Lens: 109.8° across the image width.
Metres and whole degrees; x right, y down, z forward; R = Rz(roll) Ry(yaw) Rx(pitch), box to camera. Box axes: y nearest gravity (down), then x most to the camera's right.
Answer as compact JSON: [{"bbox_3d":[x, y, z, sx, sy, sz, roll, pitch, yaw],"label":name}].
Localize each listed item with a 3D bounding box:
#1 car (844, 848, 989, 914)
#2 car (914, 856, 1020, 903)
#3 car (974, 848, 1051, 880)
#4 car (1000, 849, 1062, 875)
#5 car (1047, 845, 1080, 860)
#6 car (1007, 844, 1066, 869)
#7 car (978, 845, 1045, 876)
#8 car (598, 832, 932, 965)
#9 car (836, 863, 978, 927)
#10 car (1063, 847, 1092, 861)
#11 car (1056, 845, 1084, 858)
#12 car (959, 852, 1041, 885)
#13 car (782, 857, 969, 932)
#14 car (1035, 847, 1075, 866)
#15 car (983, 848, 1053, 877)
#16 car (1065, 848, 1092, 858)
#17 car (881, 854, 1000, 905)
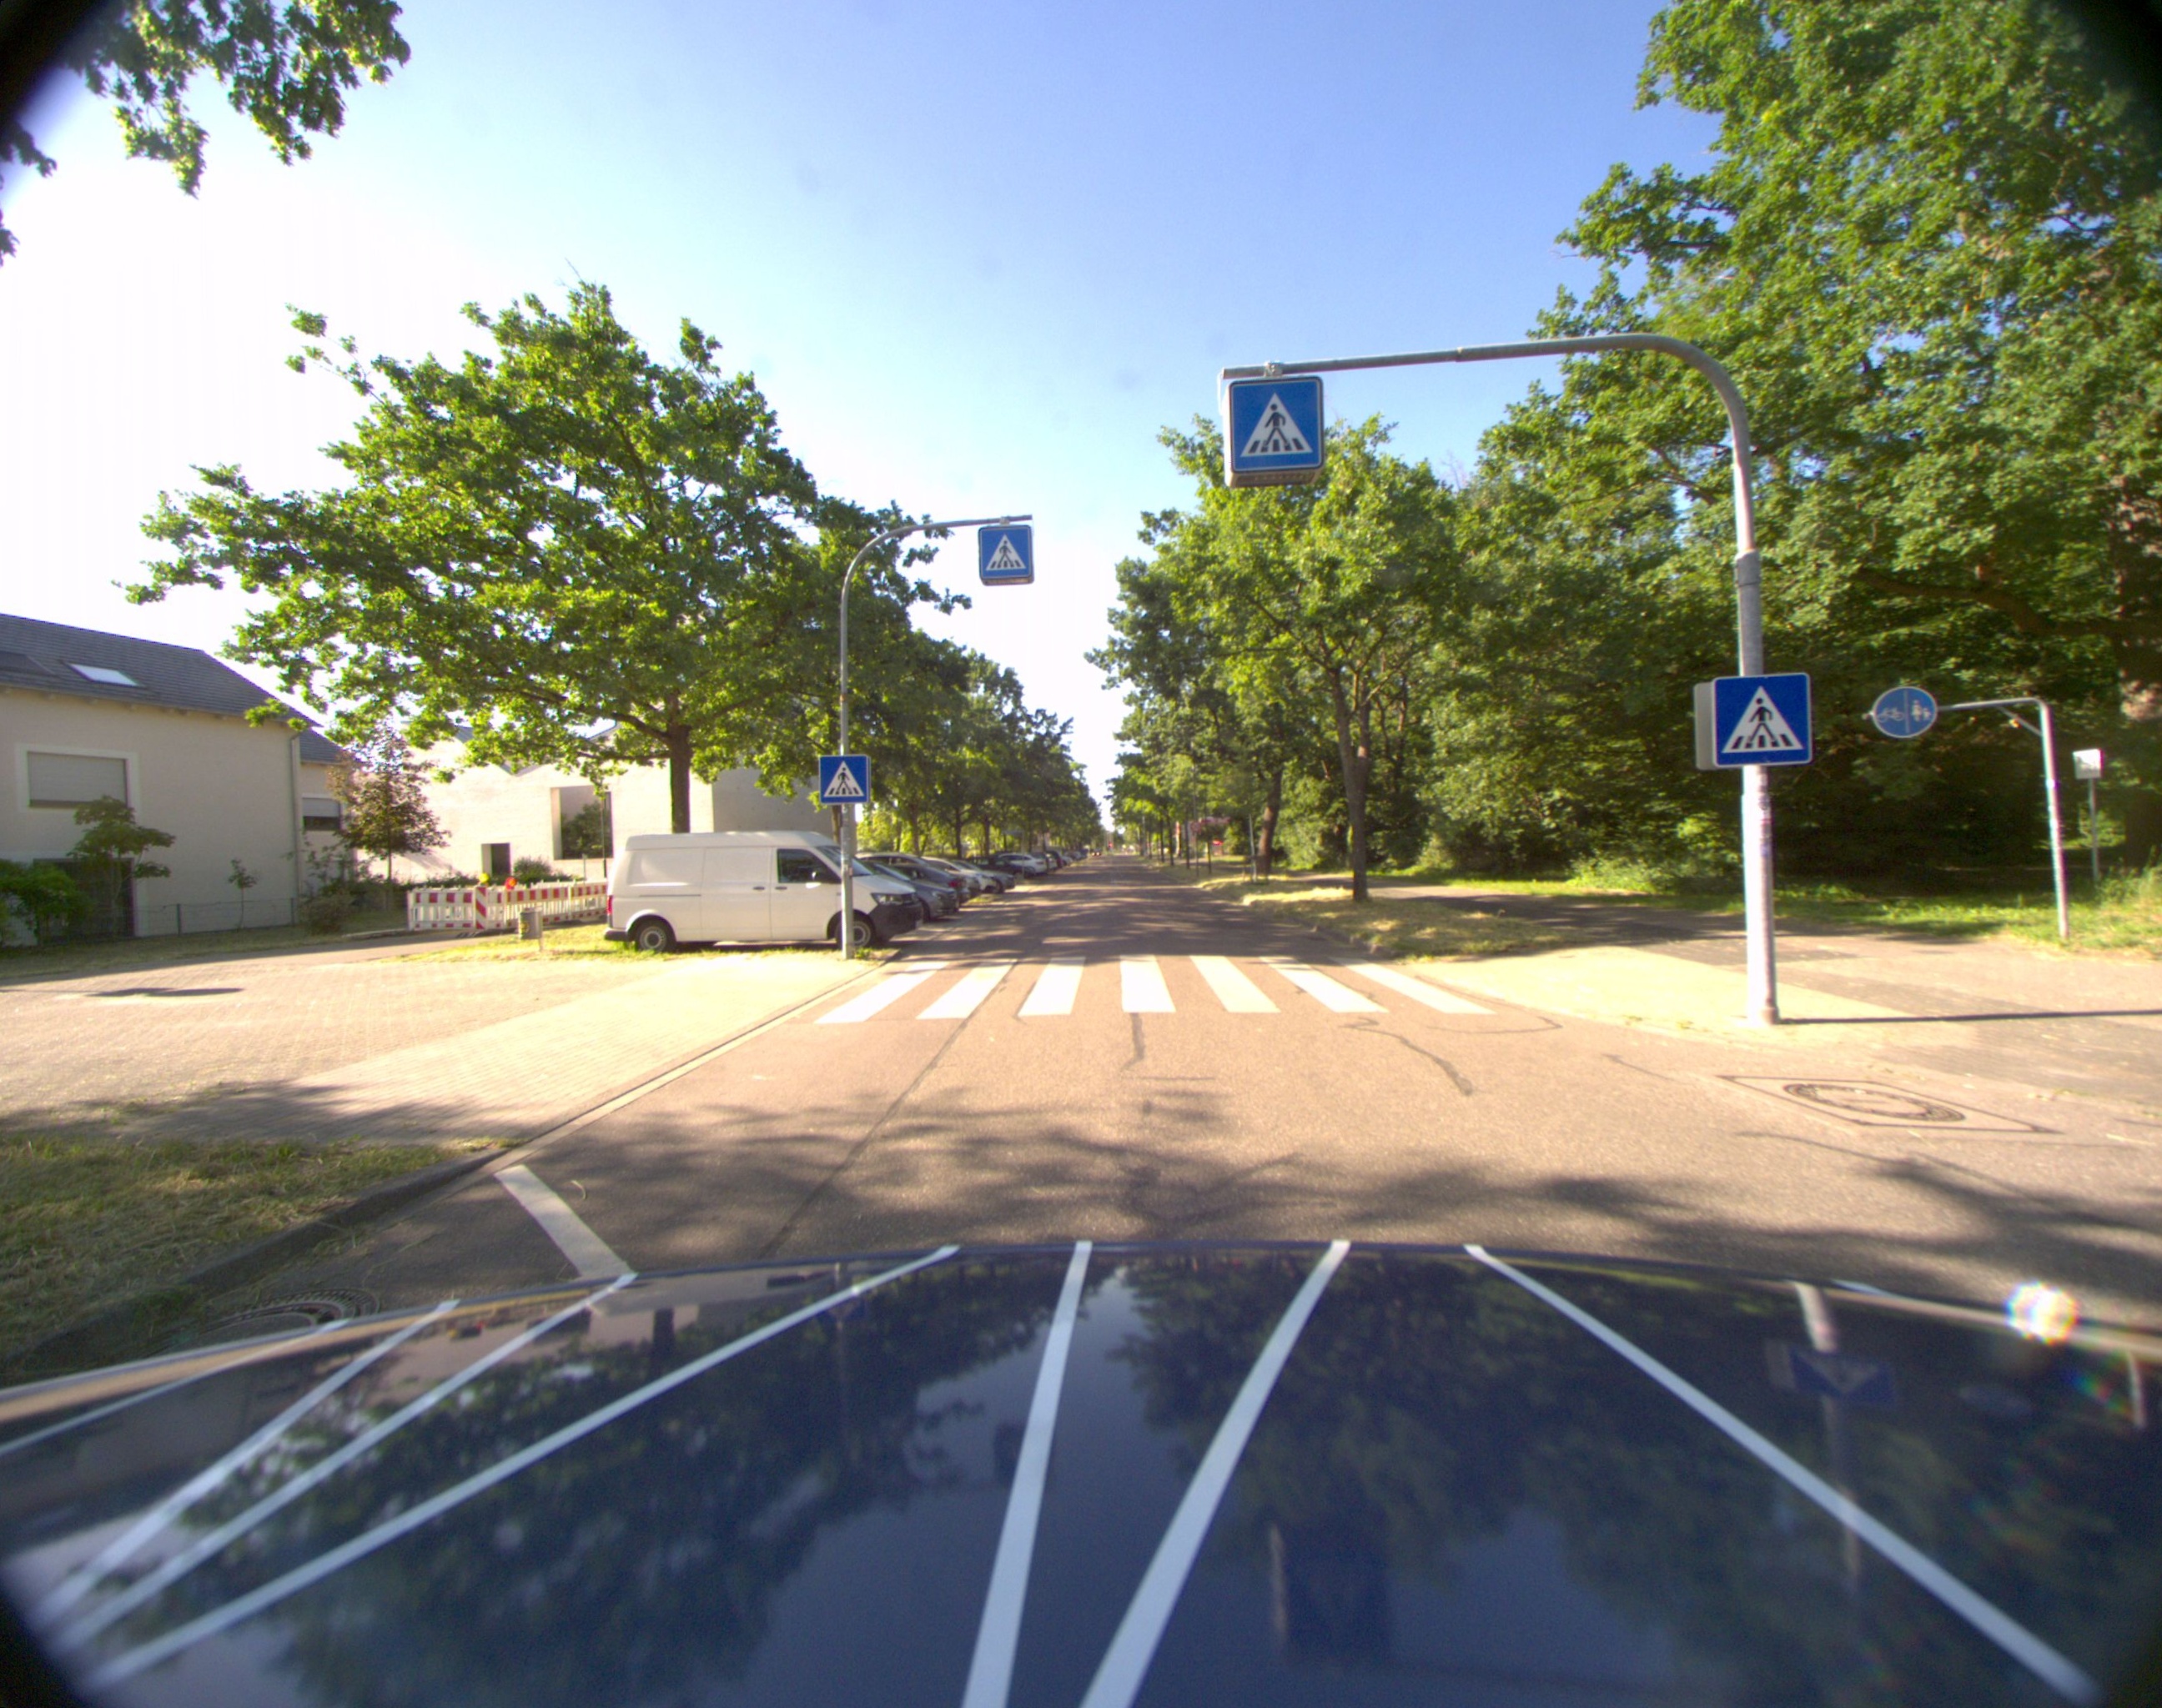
[{"bbox_3d":[-5.051,0.812,23.646,4.018,1.783,1.713,-3,1,4],"label":"car"},{"bbox_3d":[-4.641,1.030,31.231,4.018,1.650,1.533,-3,1,4],"label":"car"},{"bbox_3d":[-4.130,0.598,46.360,4.394,1.733,1.533,-3,1,4],"label":"car"},{"bbox_3d":[-3.758,0.570,57.624,4.394,1.733,1.533,-3,1,4],"label":"car"},{"bbox_3d":[-2.336,-0.211,101.213,4.151,1.838,1.949,-3,1,3],"label":"car"},{"bbox_3d":[-3.467,0.222,59.981,4.394,1.733,1.533,-3,1,4],"label":"car"},{"bbox_3d":[-4.901,0.425,53.812,4.394,1.977,1.533,-3,1,4],"label":"car"},{"bbox_3d":[-5.401,0.728,13.451,5.045,2.069,1.891,-1,1,2],"label":"car"},{"bbox_3d":[-4.774,1.126,21.088,3.515,1.533,1.448,-3,1,4],"label":"car"},{"bbox_3d":[-0.472,-0.027,112.443,4.151,1.838,1.949,-3,1,3],"label":"car"},{"bbox_3d":[-1.734,-0.343,117.542,4.151,1.838,1.949,-3,1,3],"label":"car"},{"bbox_3d":[-4.601,0.821,43.347,4.394,1.632,1.533,-3,1,4],"label":"car"},{"bbox_3d":[-4.949,0.964,18.665,3.996,1.554,1.758,-3,1,4],"label":"car"},{"bbox_3d":[-2.699,0.236,80.260,3.996,1.838,1.863,-3,1,3],"label":"car"},{"bbox_3d":[-4.169,0.558,50.561,4.394,1.733,1.533,-3,1,4],"label":"car"},{"bbox_3d":[-0.393,-0.116,122.529,4.151,1.401,1.800,-3,1,3],"label":"car"},{"bbox_3d":[-5.171,0.919,28.250,4.018,1.669,1.533,-3,1,4],"label":"car"}]
